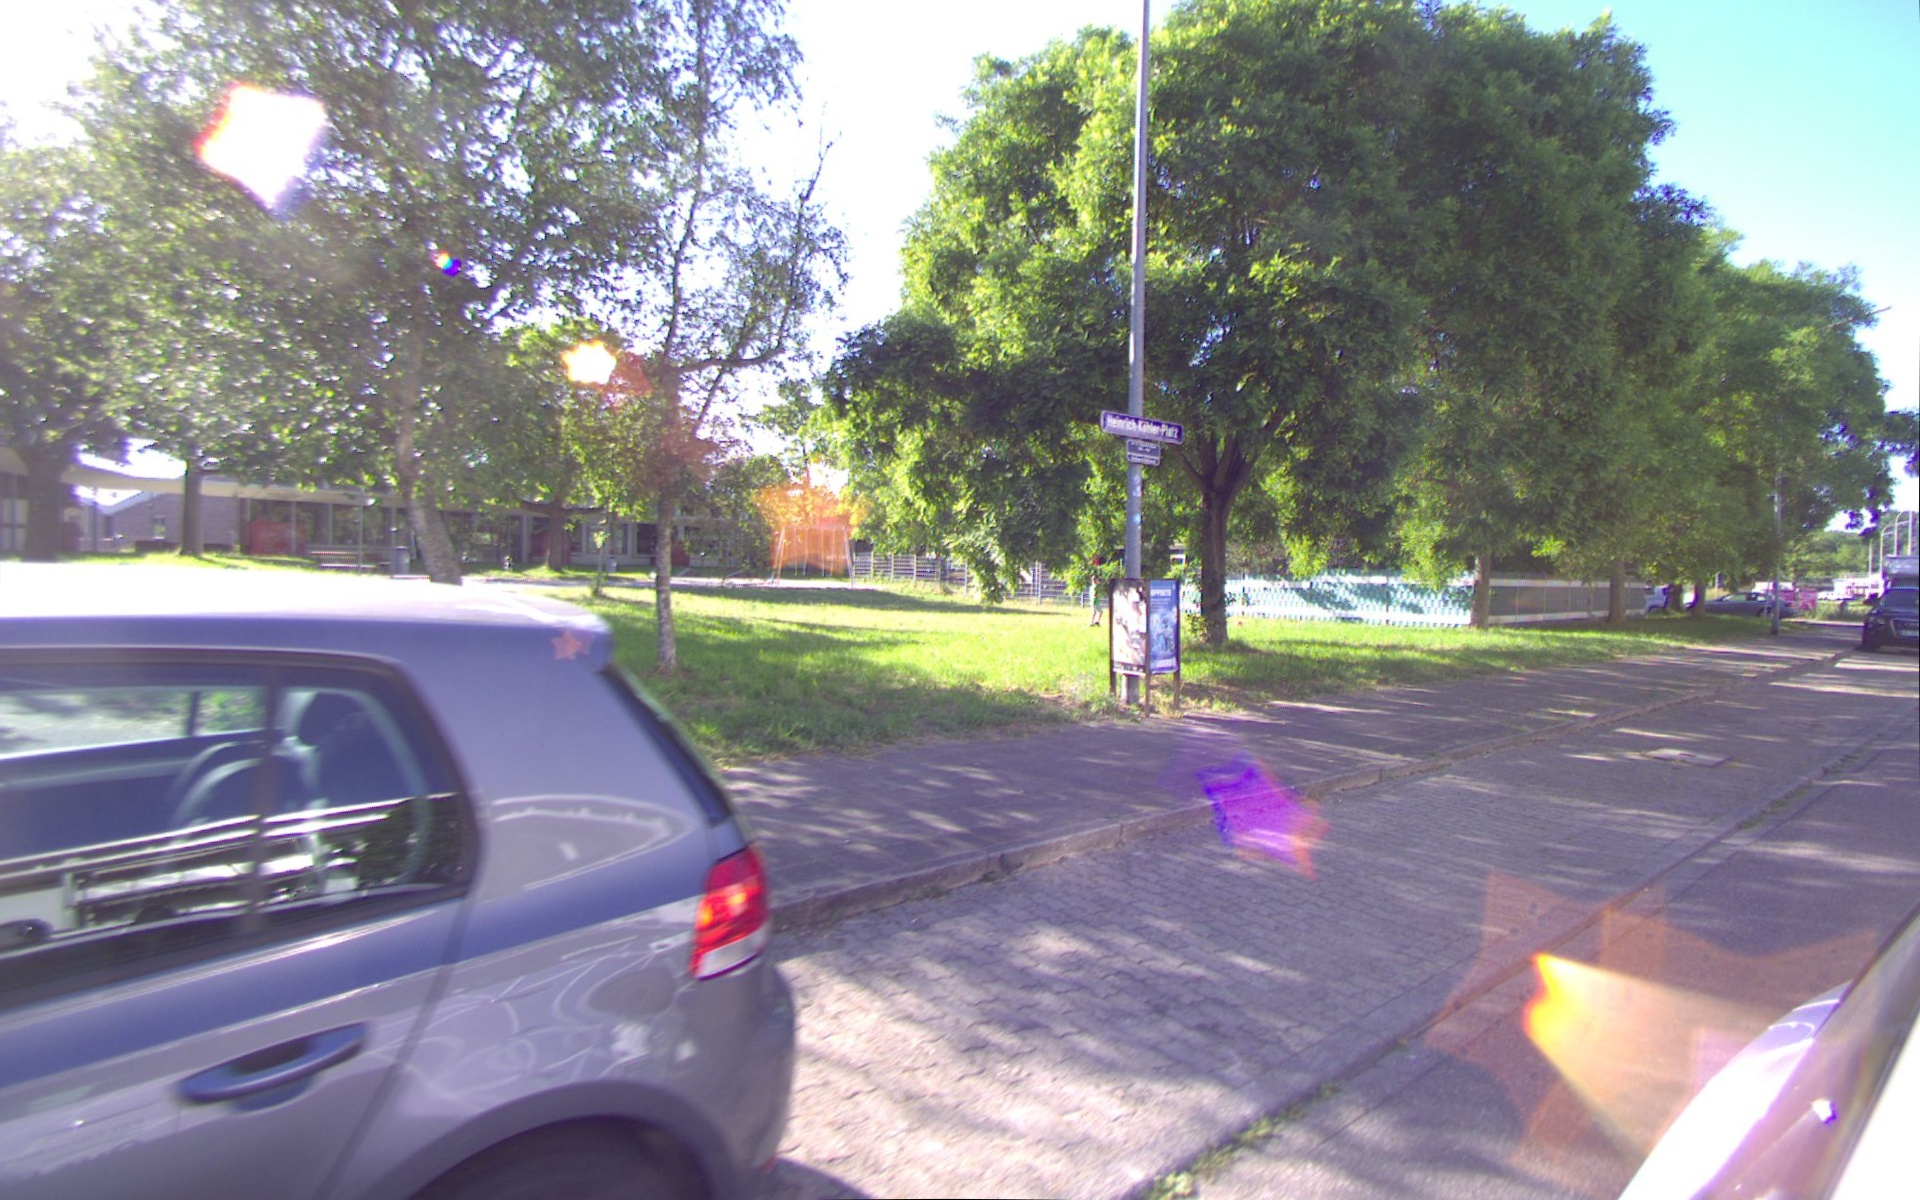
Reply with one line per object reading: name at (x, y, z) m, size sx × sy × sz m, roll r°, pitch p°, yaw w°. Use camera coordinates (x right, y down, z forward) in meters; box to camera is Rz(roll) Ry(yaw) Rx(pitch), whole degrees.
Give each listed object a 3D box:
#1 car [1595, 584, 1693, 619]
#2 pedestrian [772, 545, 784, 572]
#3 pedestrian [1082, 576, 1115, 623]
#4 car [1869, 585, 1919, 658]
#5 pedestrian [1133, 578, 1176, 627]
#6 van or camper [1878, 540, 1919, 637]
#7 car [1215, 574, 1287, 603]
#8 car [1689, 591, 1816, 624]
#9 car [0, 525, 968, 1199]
car at (34.429, 0.044, 51.023) m, size 1.794 × 1.597 × 3.696 m, roll 1°, pitch 2°, yaw -37°
pedestrian at (-12.485, -2.859, 69.328) m, size 0.535 × 1.817 × 0.556 m, roll 0°, pitch 2°, yaw -41°
pedestrian at (3.385, -0.012, 24.718) m, size 0.629 × 1.102 × 0.503 m, roll 3°, pitch 2°, yaw 28°
car at (24.144, 0.525, 25.195) m, size 1.995 × 1.660 × 4.464 m, roll 5°, pitch 4°, yaw 44°
pedestrian at (4.626, 0.054, 24.044) m, size 0.700 × 1.102 × 0.713 m, roll 4°, pitch 2°, yaw 40°
van or camper at (29.016, -0.272, 29.773) m, size 6.318 × 2.627 × 2.356 m, roll 0°, pitch 5°, yaw -44°
car at (18.013, -0.724, 62.749) m, size 1.966 × 1.631 × 3.871 m, roll 0°, pitch 2°, yaw -42°
car at (37.146, 0.348, 47.549) m, size 1.715 × 1.354 × 4.434 m, roll 2°, pitch 0°, yaw -40°
car at (-2.210, 0.674, 1.267) m, size 4.352 × 1.542 × 1.724 m, roll 0°, pitch 5°, yaw -42°
